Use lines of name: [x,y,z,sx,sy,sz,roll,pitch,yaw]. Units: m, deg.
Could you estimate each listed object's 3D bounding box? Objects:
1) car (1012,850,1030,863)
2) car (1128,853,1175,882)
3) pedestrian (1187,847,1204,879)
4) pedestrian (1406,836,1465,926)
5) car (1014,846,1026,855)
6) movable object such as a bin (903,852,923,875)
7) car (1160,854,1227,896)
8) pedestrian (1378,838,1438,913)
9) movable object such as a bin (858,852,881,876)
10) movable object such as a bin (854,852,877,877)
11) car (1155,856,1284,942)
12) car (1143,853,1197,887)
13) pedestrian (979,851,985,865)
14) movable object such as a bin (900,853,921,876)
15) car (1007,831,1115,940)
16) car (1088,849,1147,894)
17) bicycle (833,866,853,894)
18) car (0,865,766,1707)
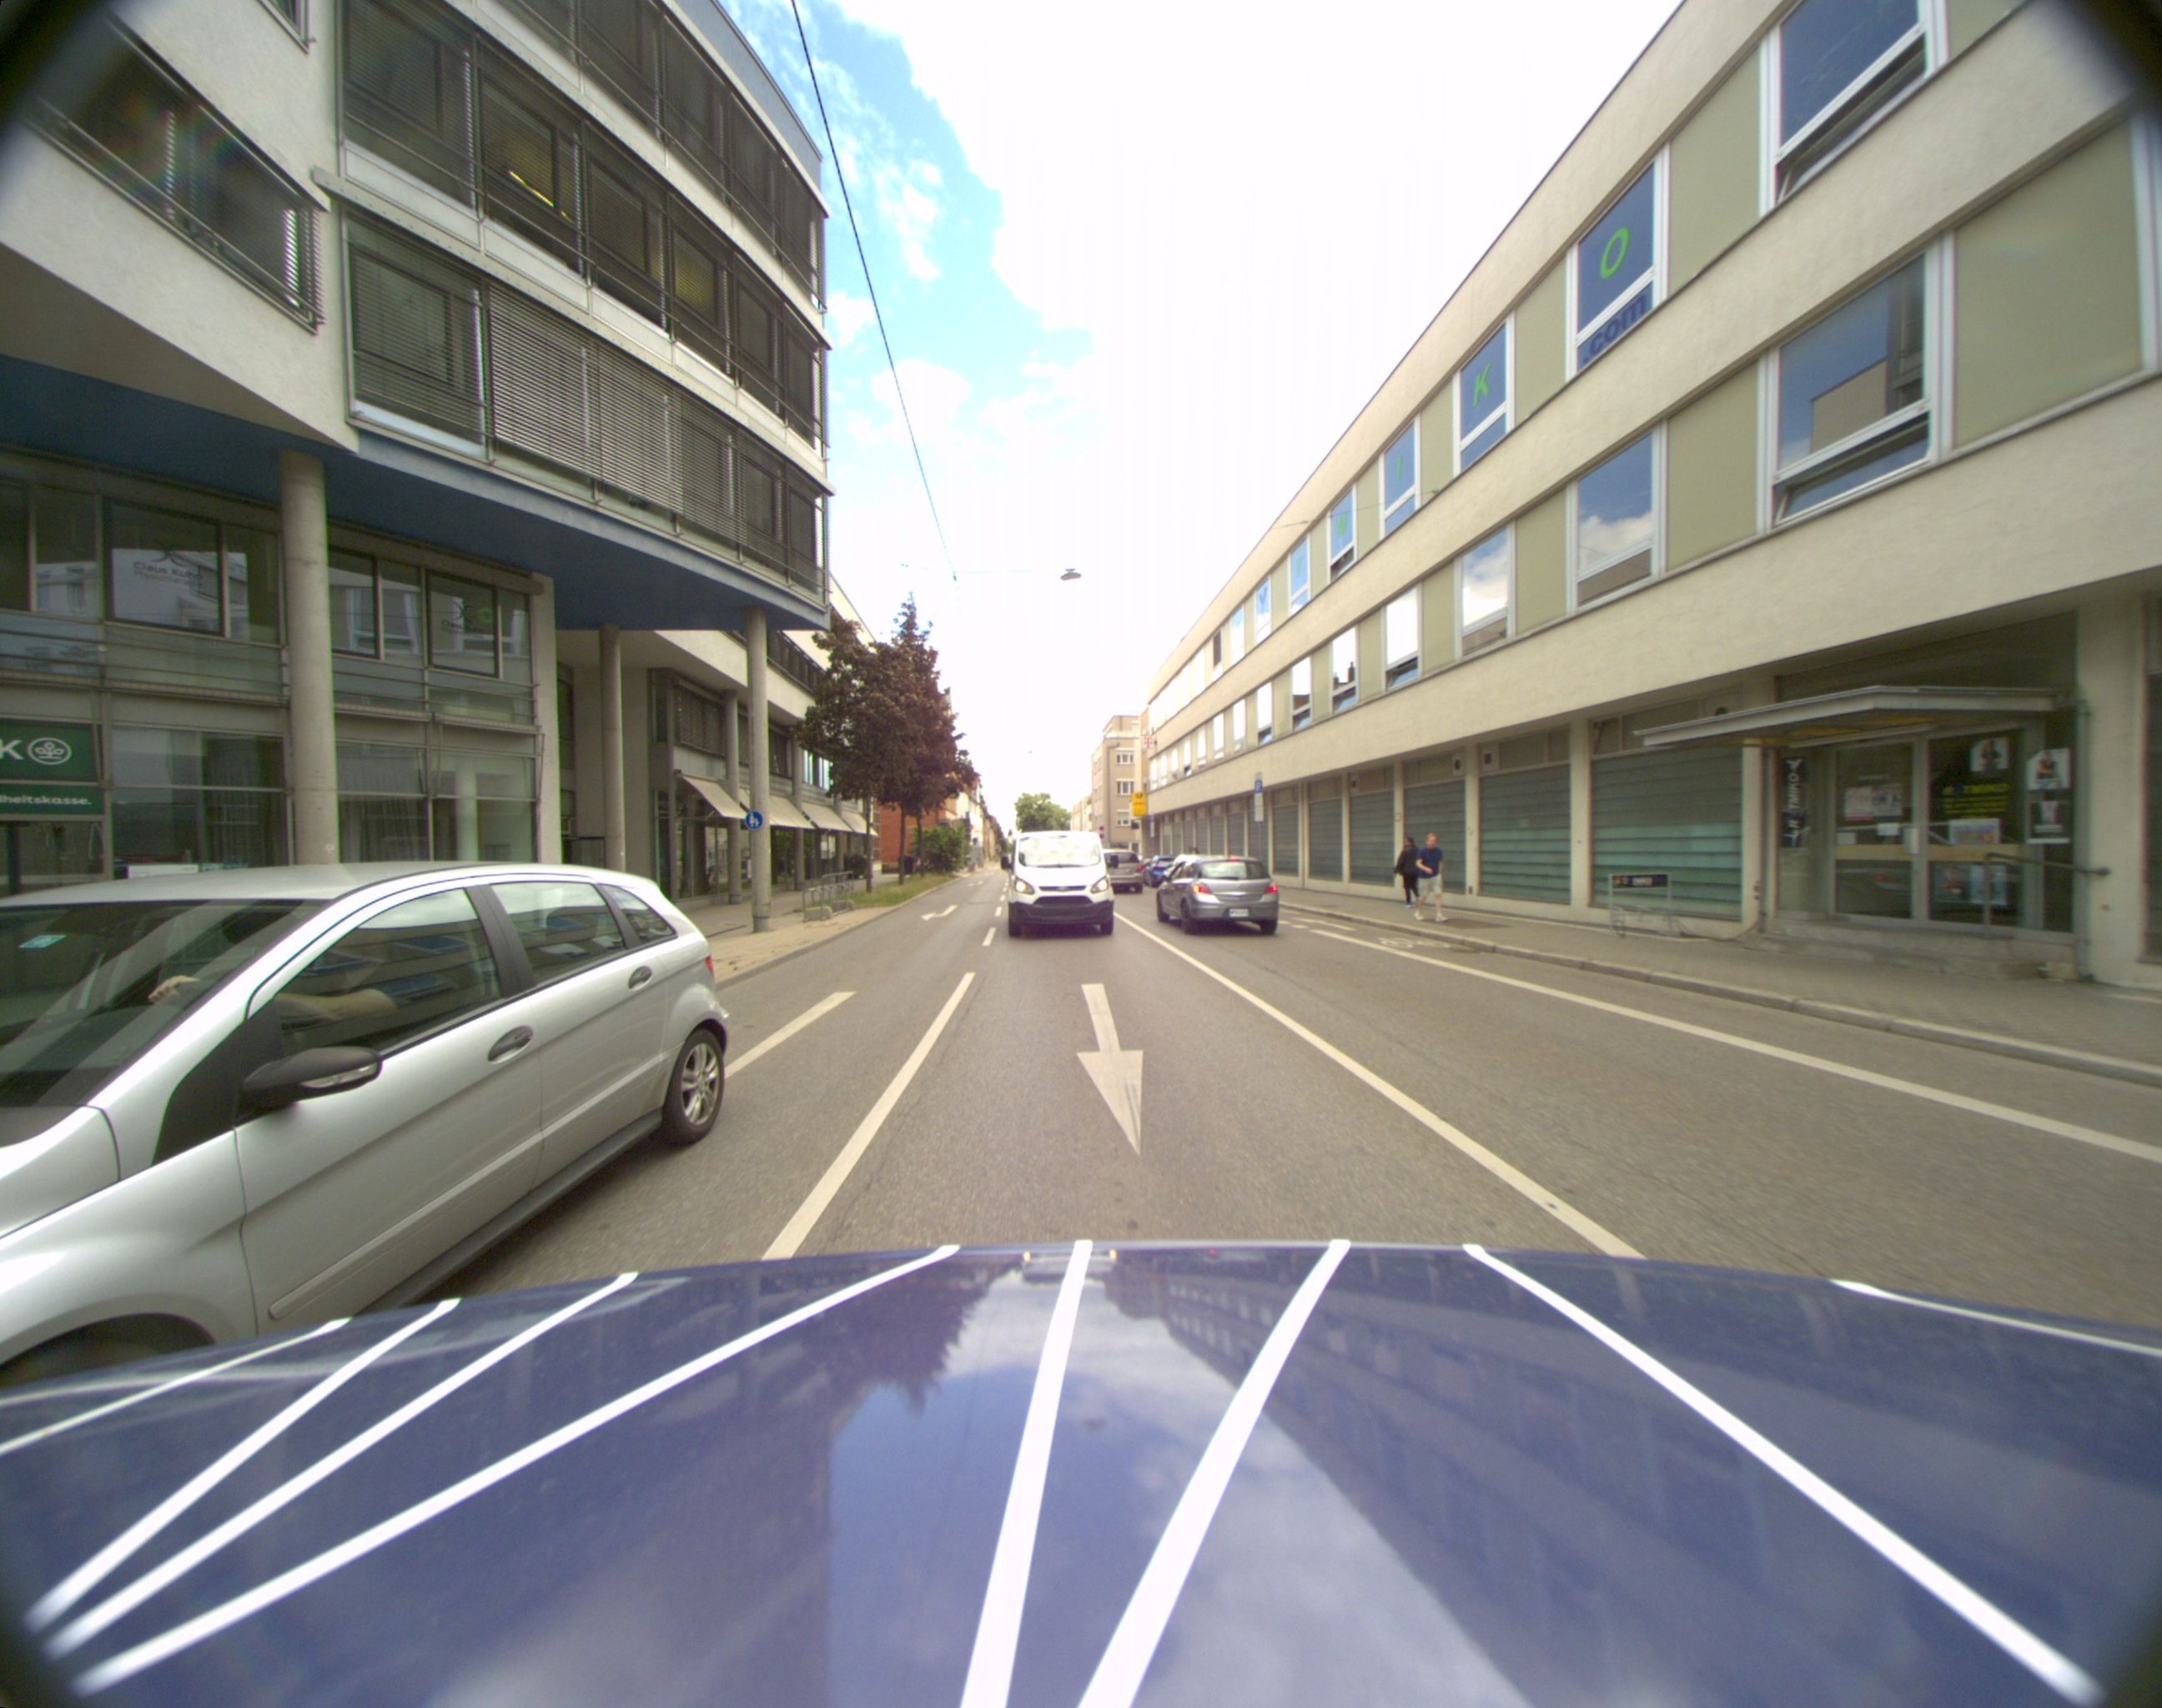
car: [-7.035,0.272,89.494,1.965,1.517,4.570,-1,1,-3]
car: [3.656,0.669,40.032,1.721,1.417,3.868,1,0,-6]
pedestrian: [6.150,0.459,40.895,0.592,1.708,0.648,-1,1,-37]
pedestrian: [6.981,0.512,14.995,0.591,1.708,1.054,-1,1,-6]
car: [-11.111,-0.590,138.250,1.966,1.517,4.568,-1,1,-7]
movable object such as a bin: [-11.000,0.638,49.733,1.101,1.457,1.332,1,1,-6]
car: [4.190,0.750,28.976,1.674,1.425,4.551,1,0,-2]
pedestrian: [7.705,0.488,17.945,0.864,1.708,1.031,-2,1,-6]
movable object such as a bin: [-12.961,0.617,46.607,1.125,1.457,1.332,1,1,-6]
movable object such as a bin: [-12.811,0.636,45.256,1.101,1.457,1.332,1,1,-6]
car: [2.621,0.783,15.262,1.662,1.458,3.918,0,1,-4]
car: [3.943,0.679,34.387,1.820,1.417,4.263,1,0,-2]
pedestrian: [-12.138,0.487,92.956,0.690,1.721,0.649,-1,1,-6]
movable object such as a bin: [-10.834,0.660,48.372,1.131,1.457,1.411,1,1,-6]
car: [-0.537,0.550,16.570,1.965,1.986,5.085,-1,1,-4]
car: [1.353,0.631,30.042,1.781,1.622,4.766,0,1,-4]
bicycle: [-9.809,1.057,31.385,0.362,1.080,2.026,-2,1,-6]
car: [-3.106,0.925,2.687,1.999,1.537,4.570,-3,1,0]
